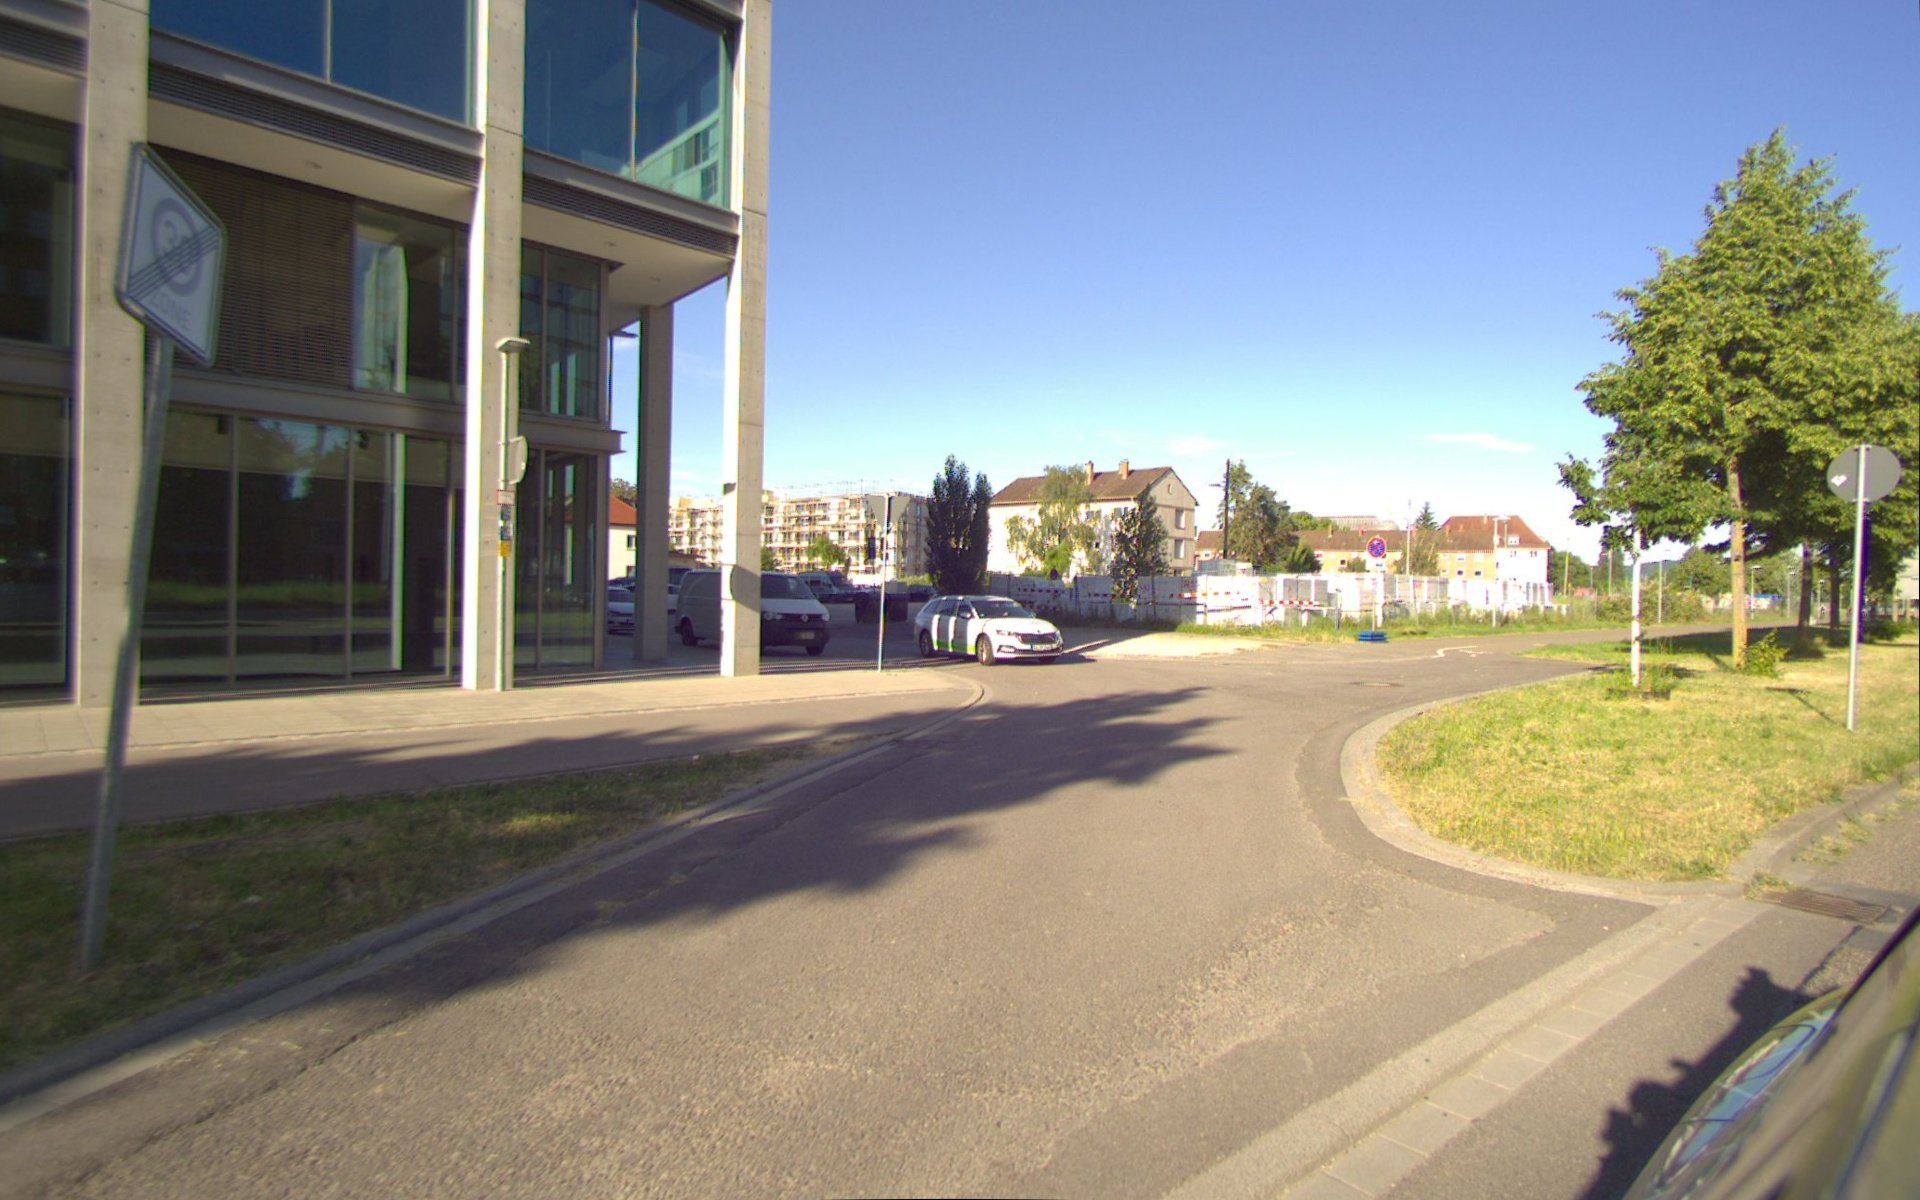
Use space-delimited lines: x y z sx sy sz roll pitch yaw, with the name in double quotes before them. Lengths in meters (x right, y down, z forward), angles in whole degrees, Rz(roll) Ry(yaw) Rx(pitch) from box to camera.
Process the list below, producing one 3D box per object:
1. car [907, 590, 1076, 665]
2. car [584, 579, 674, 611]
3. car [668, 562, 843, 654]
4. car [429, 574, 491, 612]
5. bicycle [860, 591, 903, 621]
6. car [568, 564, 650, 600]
"car" 0.580 0.532 22.772 1.738 1.410 4.533 -1 2 -29
"car" -16.388 -0.223 50.192 3.932 1.482 1.674 1 0 -43
"car" -5.079 0.122 24.548 1.904 2.006 5.076 1 0 -40
"car" -23.337 -0.347 47.197 1.718 1.681 3.842 -1 2 -40
"bicycle" -3.193 0.255 41.110 1.715 1.206 0.584 1 0 -40
"car" -19.279 -0.983 55.651 3.932 1.873 1.674 1 0 -43
